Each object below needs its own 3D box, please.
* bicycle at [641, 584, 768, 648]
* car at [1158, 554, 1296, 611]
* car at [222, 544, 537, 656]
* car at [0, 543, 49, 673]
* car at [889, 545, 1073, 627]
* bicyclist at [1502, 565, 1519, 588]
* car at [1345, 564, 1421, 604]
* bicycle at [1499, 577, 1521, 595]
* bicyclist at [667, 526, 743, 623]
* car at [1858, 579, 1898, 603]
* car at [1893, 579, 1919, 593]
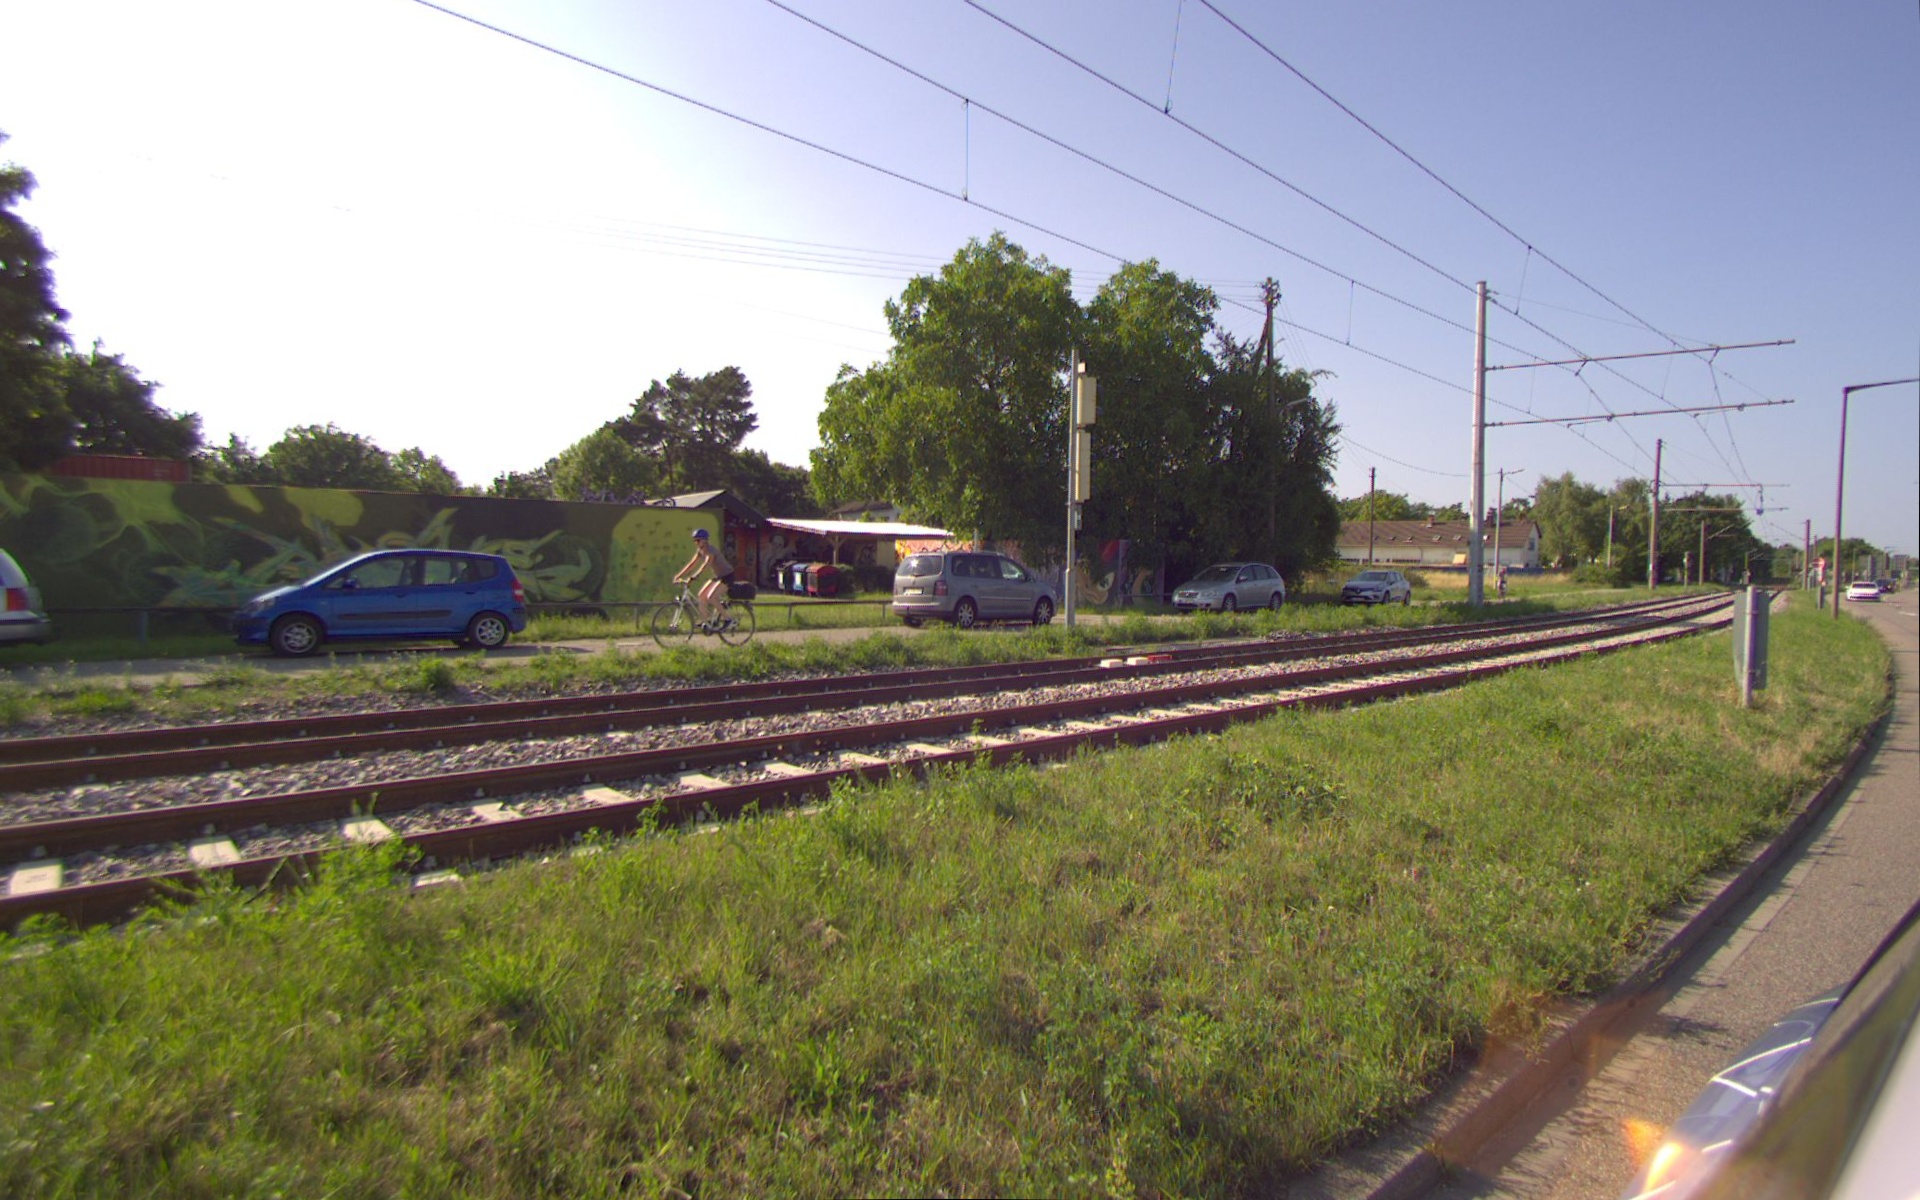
[{"bbox_3d":[-3.897,0.223,15.531,1.813,0.921,0.643,-1,1,-44],"label":"bicycle"},{"bbox_3d":[8.313,-0.545,31.312,4.647,1.610,1.910,-1,3,-42],"label":"car"},{"bbox_3d":[-8.482,-0.017,14.935,3.840,1.448,1.682,0,0,-38],"label":"car"},{"bbox_3d":[-12.890,0.071,11.034,4.312,1.483,1.713,0,2,-40],"label":"car"},{"bbox_3d":[0.558,-0.337,22.479,1.522,1.630,4.415,3,3,43],"label":"car"},{"bbox_3d":[30.020,-1.257,55.227,0.639,1.248,0.779,1,1,43],"label":"bicyclist"},{"bbox_3d":[16.775,-0.638,40.045,1.533,1.466,4.070,3,3,41],"label":"car"},{"bbox_3d":[30.023,-0.765,55.230,0.643,0.921,1.785,1,1,43],"label":"bicycle"},{"bbox_3d":[-3.902,-0.387,15.515,0.946,1.440,0.630,-1,1,-43],"label":"bicyclist"},{"bbox_3d":[65.260,-0.646,72.021,1.961,1.638,4.244,2,2,41],"label":"car"},{"bbox_3d":[103.527,-1.530,110.753,1.830,1.532,4.093,0,0,40],"label":"car"}]
